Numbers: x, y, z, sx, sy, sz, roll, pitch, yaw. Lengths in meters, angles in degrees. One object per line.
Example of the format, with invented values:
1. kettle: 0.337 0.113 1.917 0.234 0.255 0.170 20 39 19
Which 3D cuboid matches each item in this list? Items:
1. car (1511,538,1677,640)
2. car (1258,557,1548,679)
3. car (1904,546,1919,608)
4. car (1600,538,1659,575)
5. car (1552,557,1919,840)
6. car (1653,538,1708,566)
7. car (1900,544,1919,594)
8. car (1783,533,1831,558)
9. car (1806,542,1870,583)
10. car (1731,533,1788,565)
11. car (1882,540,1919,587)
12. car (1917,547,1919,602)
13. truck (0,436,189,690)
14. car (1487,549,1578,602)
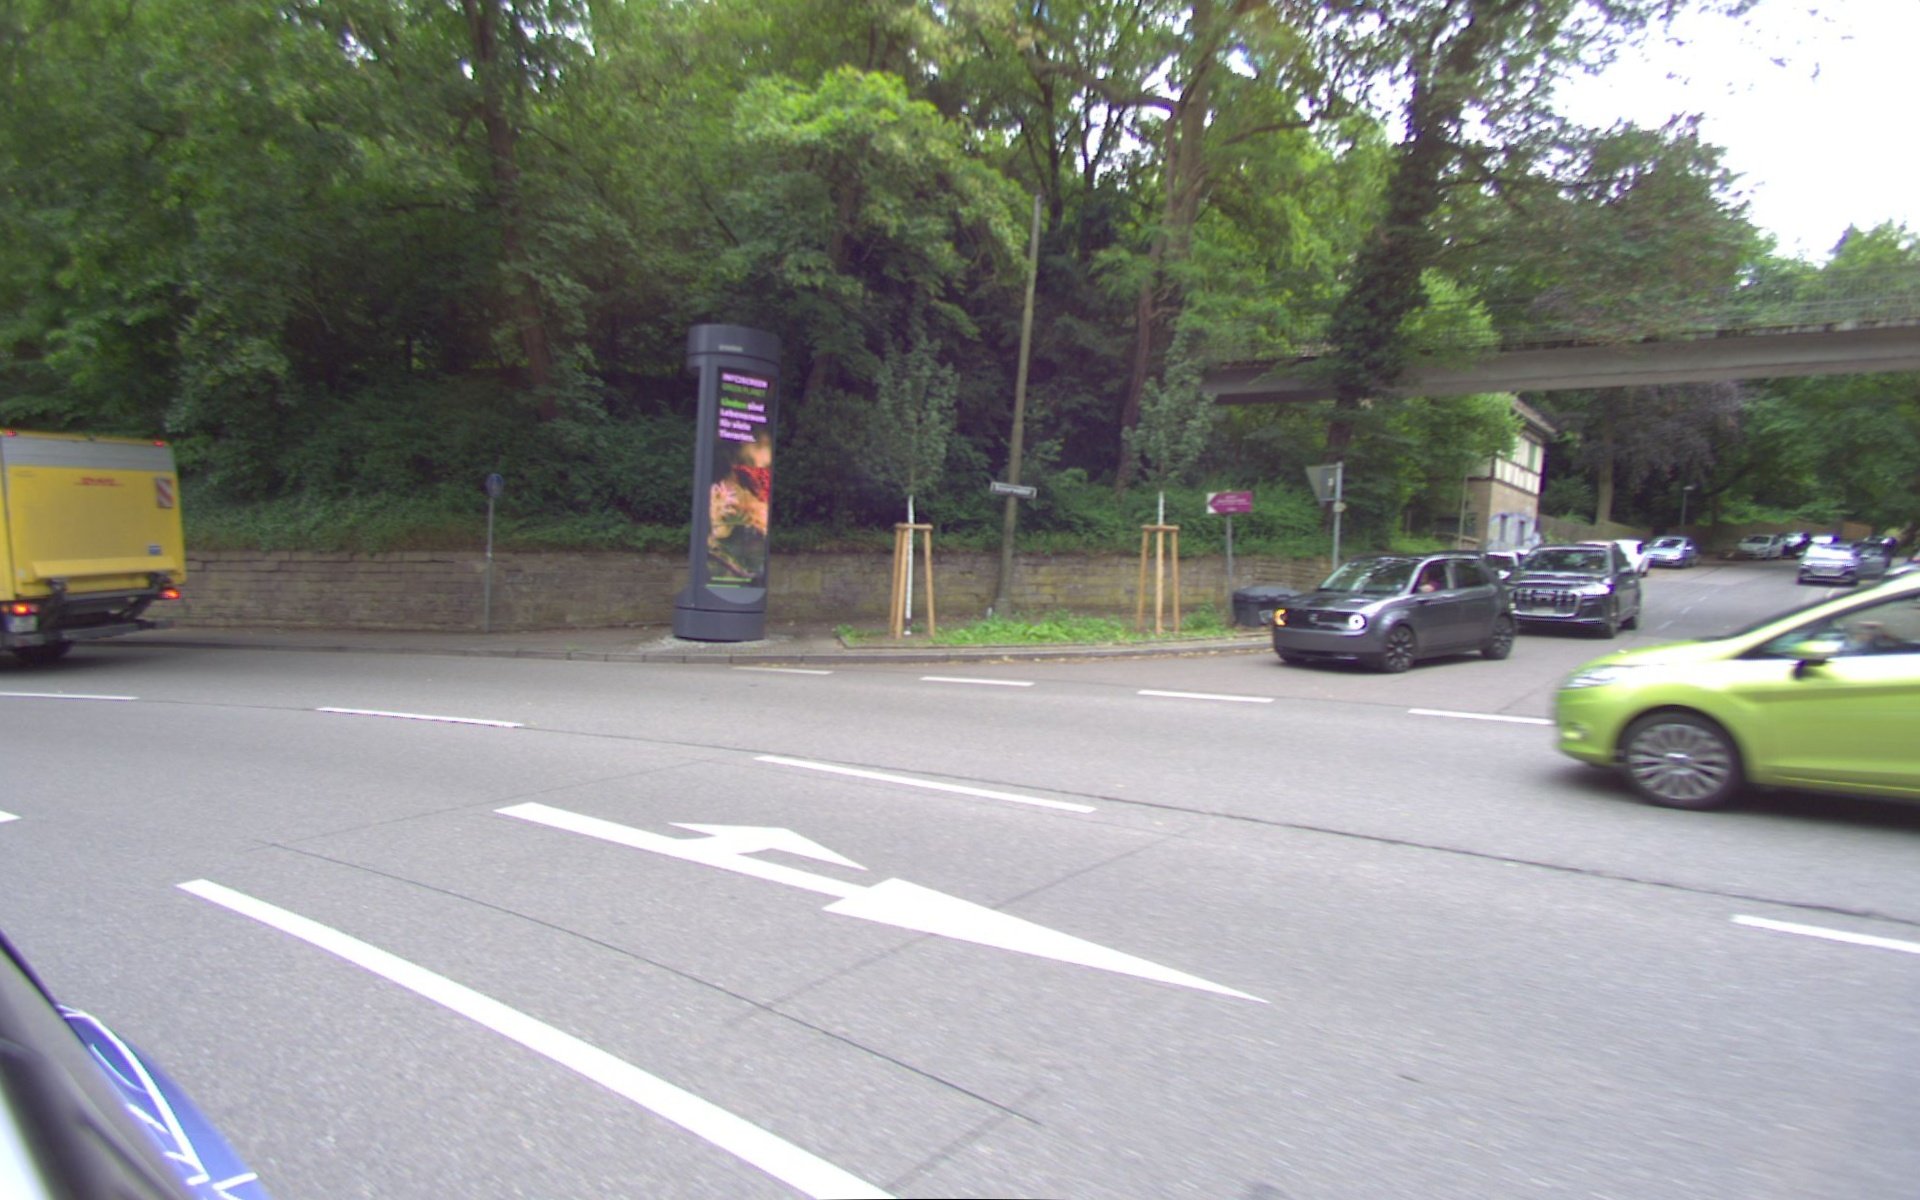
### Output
1. car: 12.010 -0.278 19.049 1.808 1.697 4.479 2 3 43
2. car: 6.115 0.139 13.871 3.933 1.368 1.759 -3 4 -32
3. car: 27.275 -0.493 26.142 3.997 1.598 1.752 5 7 40
4. car: 27.720 -1.820 41.835 1.601 1.339 3.862 4 6 39
5. car: 5.599 0.477 5.470 3.901 1.433 1.537 1 2 44
6. car: 34.991 -2.354 49.108 1.595 1.237 3.588 4 5 44
7. car: 31.919 -0.873 31.292 3.999 1.530 1.801 6 7 41
8. car: 54.157 -3.452 64.692 3.938 1.443 1.762 -2 1 -42
9. car: 34.664 -1.520 39.968 1.760 1.443 3.946 5 6 41
10. car: 47.113 -2.994 59.618 3.938 1.763 2.003 -2 1 -42
11. car: 33.504 -1.149 33.693 3.999 1.530 1.801 6 7 41
12. car: 29.234 -0.652 27.903 3.999 1.530 1.801 3 5 41
13. truck: -16.074 -0.503 15.080 7.493 3.324 2.752 -1 2 8
14. car: 16.909 -0.785 29.812 1.627 1.339 3.972 4 6 39
